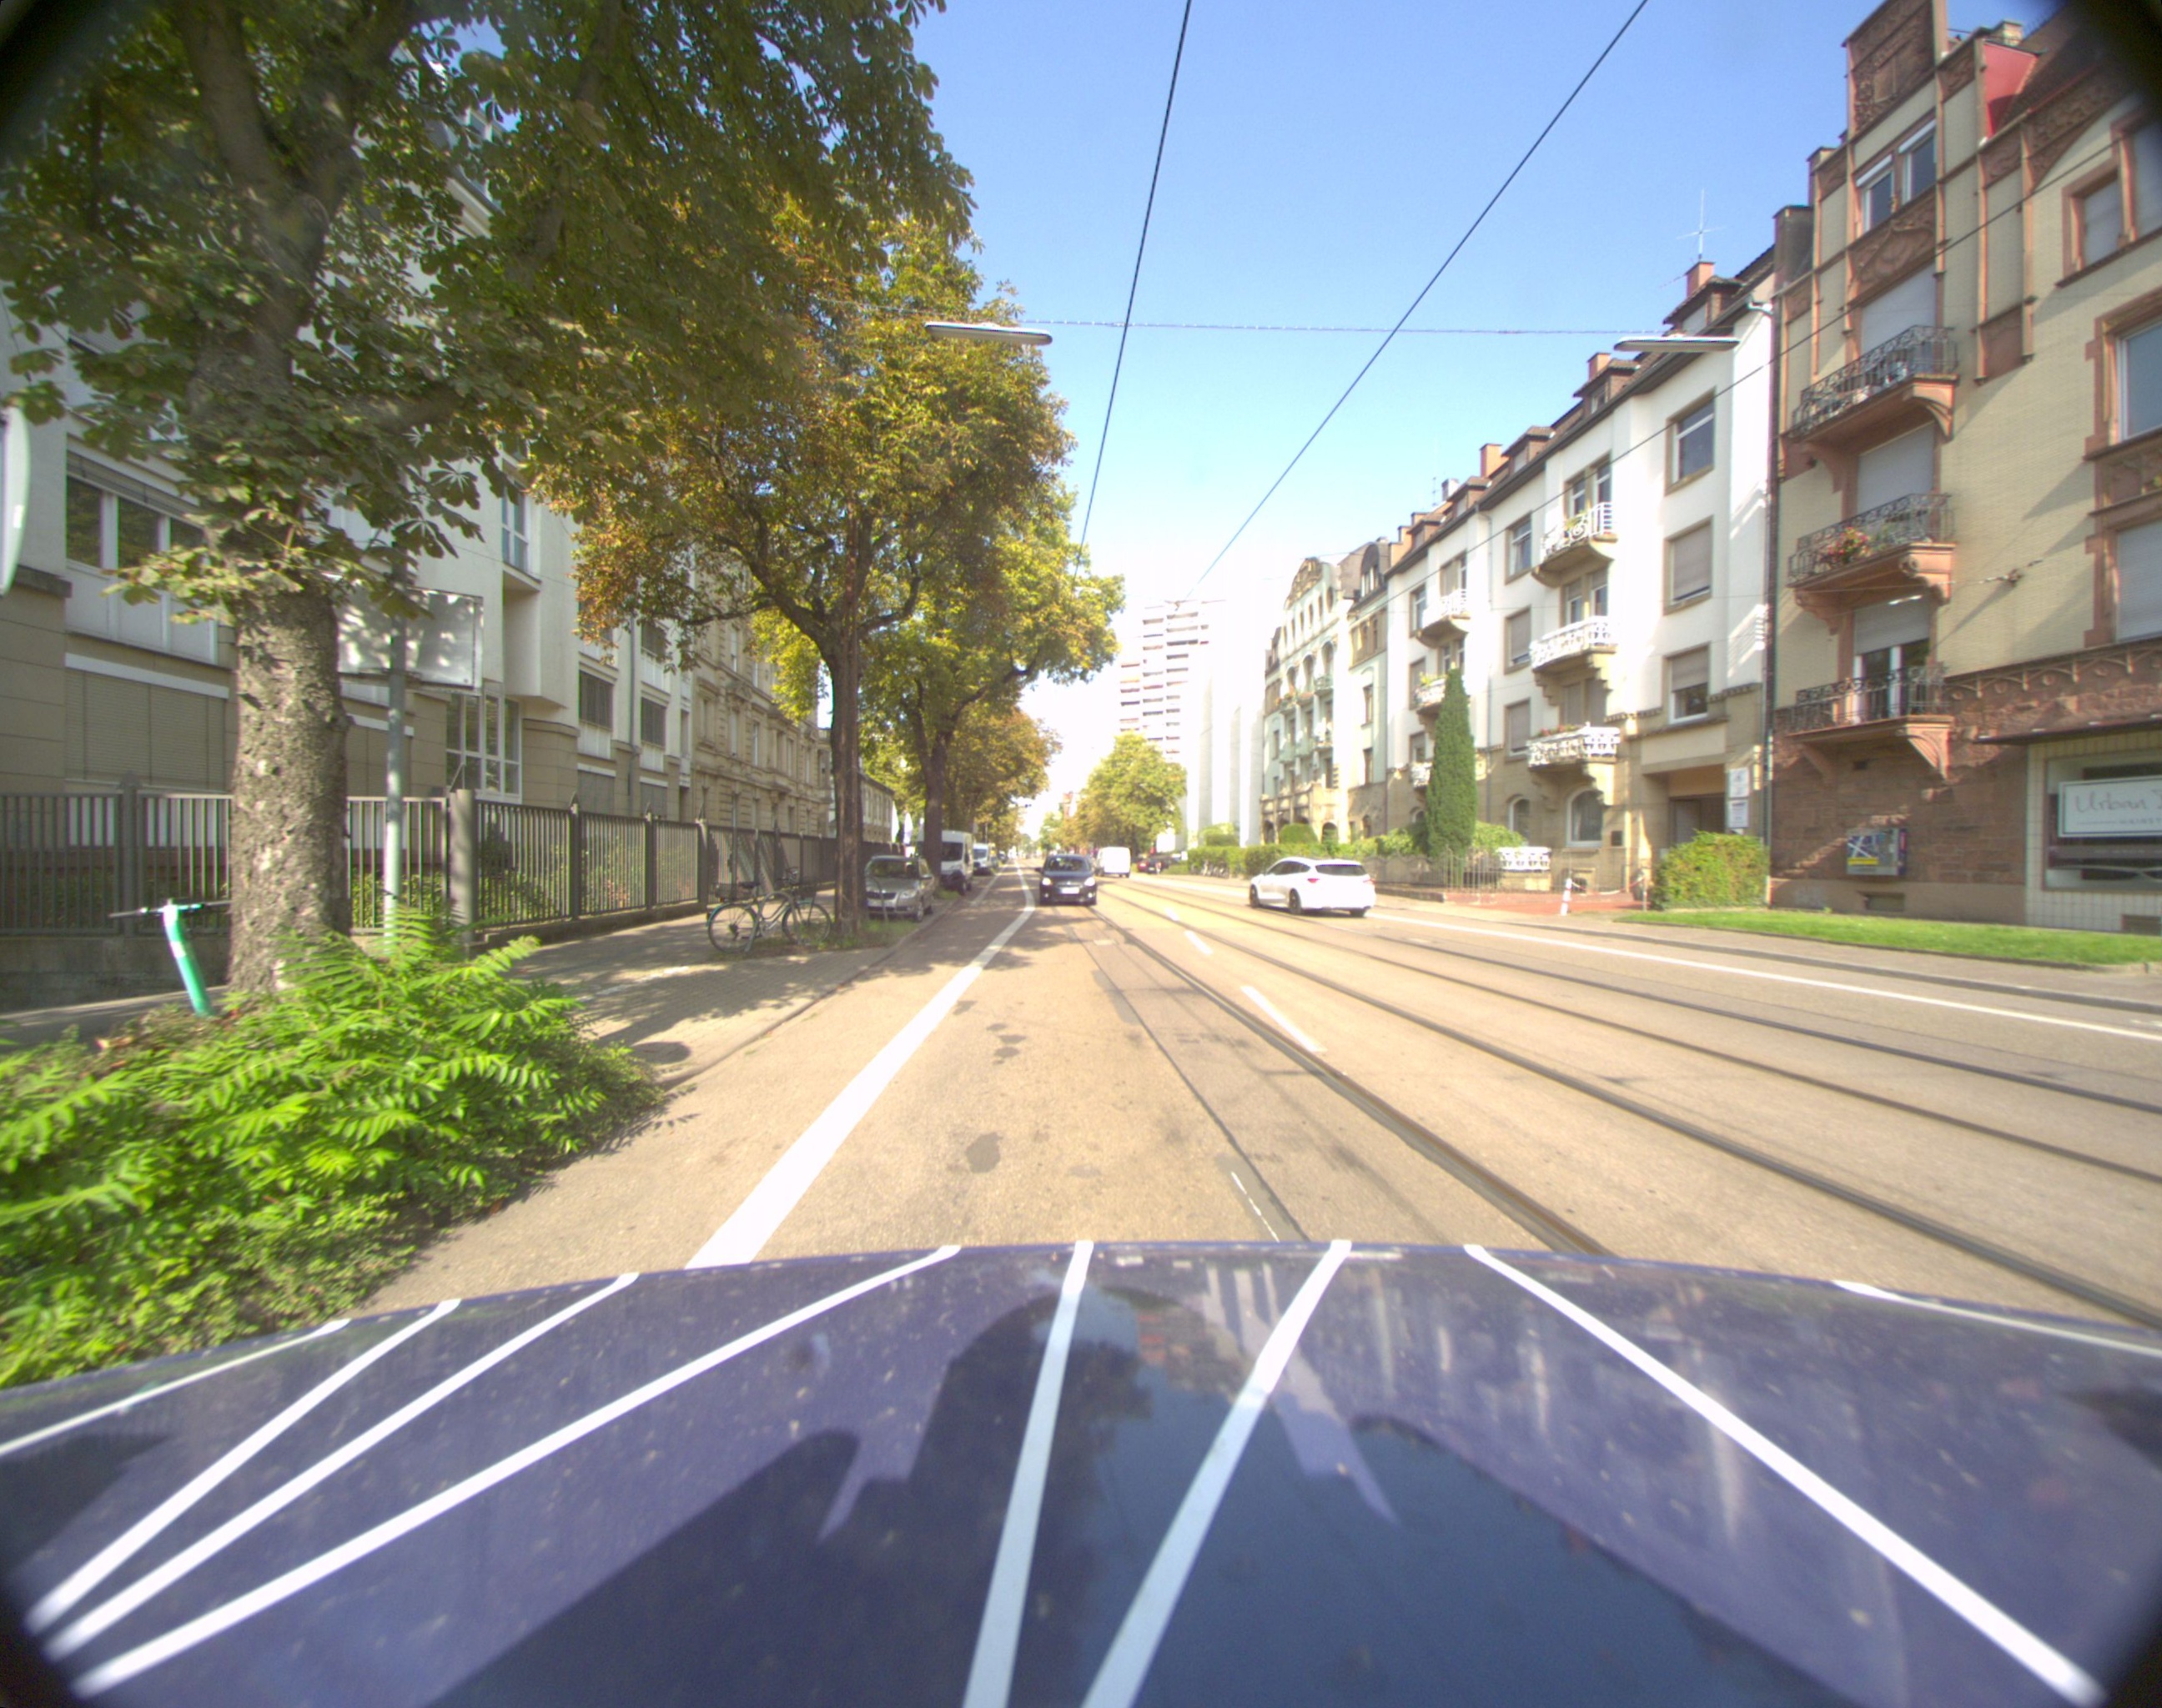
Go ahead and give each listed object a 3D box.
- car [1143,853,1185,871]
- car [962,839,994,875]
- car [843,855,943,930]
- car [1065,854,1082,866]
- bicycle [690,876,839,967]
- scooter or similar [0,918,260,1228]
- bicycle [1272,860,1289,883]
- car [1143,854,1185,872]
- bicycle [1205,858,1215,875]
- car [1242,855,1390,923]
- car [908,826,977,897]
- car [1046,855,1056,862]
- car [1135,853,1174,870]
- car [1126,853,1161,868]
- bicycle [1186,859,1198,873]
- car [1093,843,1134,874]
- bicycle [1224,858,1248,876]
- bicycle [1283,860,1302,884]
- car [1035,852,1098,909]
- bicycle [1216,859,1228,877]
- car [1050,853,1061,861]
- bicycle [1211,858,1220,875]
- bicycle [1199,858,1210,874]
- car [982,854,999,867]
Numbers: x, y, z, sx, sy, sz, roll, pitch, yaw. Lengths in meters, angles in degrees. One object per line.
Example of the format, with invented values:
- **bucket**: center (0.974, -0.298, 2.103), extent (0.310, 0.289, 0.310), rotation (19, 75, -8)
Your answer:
- **car**: center (7.478, 0.694, 68.227), extent (1.767, 1.518, 4.009), rotation (1, 0, 41)
- **car**: center (-7.681, 0.224, 57.168), extent (1.999, 2.526, 5.865), rotation (2, 0, -4)
- **car**: center (-4.464, 0.833, 18.608), extent (1.611, 1.515, 4.355), rotation (3, 0, -5)
- **car**: center (-0.974, 0.714, 96.309), extent (1.702, 1.395, 4.643), rotation (-1, 1, -6)
- **bicycle**: center (-4.497, 0.932, 10.894), extent (1.847, 1.160, 0.503), rotation (3, 5, -45)
- **scooter or similar**: center (-4.812, 0.966, 3.653), extent (0.559, 1.190, 1.034), rotation (3, 1, 1)
- **bicycle**: center (9.847, 0.846, 37.504), extent (0.371, 1.081, 1.354), rotation (0, 0, -5)
- **car**: center (7.095, 0.744, 64.397), extent (1.767, 1.518, 4.009), rotation (1, 0, 36)
- **bicycle**: center (8.545, 0.803, 50.355), extent (0.425, 1.081, 1.677), rotation (0, 0, 4)
- **car**: center (5.890, 0.815, 19.737), extent (1.878, 1.446, 4.541), rotation (3, 0, -8)
- **car**: center (-5.396, 0.260, 30.297), extent (2.052, 2.484, 6.225), rotation (1, 0, -5)
- **car**: center (-6.123, 0.883, 152.583), extent (1.758, 1.349, 3.786), rotation (0, 0, -6)
- **car**: center (6.897, 0.685, 71.031), extent (1.767, 1.518, 4.009), rotation (1, 0, 36)
- **car**: center (6.473, 0.663, 78.483), extent (1.767, 1.518, 4.009), rotation (1, 0, 36)
- **bicycle**: center (8.107, 0.873, 55.679), extent (0.426, 0.972, 1.769), rotation (0, 0, -6)
- **car**: center (2.165, 0.279, 52.545), extent (2.000, 2.002, 4.855), rotation (0, 0, -8)
- **bicycle**: center (9.486, 0.816, 46.510), extent (1.398, 1.081, 0.425), rotation (0, 1, -22)
- **bicycle**: center (9.942, 0.843, 35.736), extent (0.371, 1.081, 1.354), rotation (0, 0, -5)
- **car**: center (-0.517, 0.736, 23.132), extent (1.611, 1.515, 4.355), rotation (-1, 1, -5)
- **bicycle**: center (8.785, 0.840, 47.460), extent (0.425, 1.081, 1.676), rotation (0, 0, -1)
- **car**: center (-4.557, 0.465, 136.249), extent (1.758, 1.349, 3.786), rotation (0, 0, -3)
- **bicycle**: center (8.762, 0.818, 49.561), extent (0.425, 1.081, 1.677), rotation (0, 0, 4)
- **bicycle**: center (8.501, 0.793, 52.368), extent (0.425, 1.081, 1.676), rotation (0, 0, -2)
- **car**: center (-10.141, 0.717, 85.405), extent (1.758, 1.349, 3.786), rotation (0, 0, -6)
